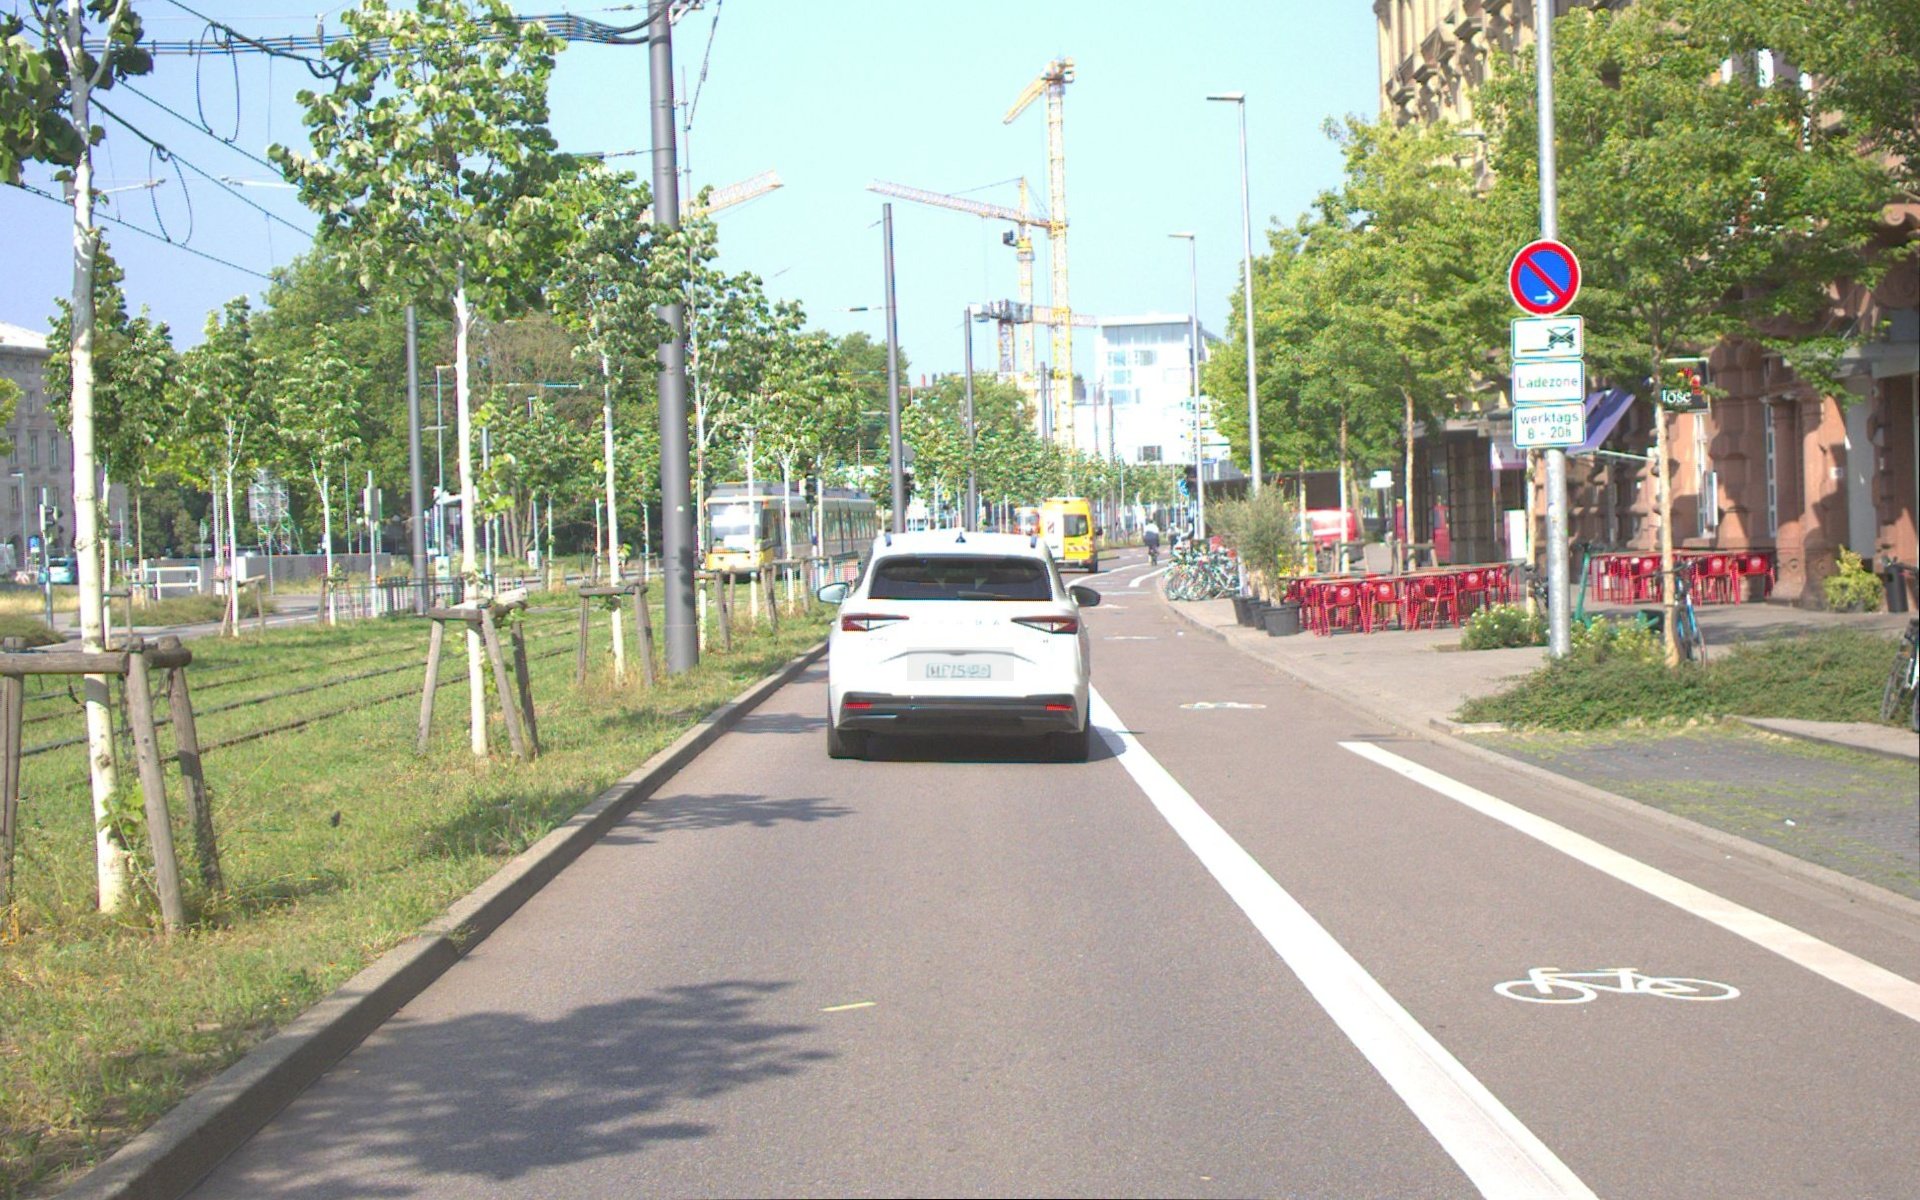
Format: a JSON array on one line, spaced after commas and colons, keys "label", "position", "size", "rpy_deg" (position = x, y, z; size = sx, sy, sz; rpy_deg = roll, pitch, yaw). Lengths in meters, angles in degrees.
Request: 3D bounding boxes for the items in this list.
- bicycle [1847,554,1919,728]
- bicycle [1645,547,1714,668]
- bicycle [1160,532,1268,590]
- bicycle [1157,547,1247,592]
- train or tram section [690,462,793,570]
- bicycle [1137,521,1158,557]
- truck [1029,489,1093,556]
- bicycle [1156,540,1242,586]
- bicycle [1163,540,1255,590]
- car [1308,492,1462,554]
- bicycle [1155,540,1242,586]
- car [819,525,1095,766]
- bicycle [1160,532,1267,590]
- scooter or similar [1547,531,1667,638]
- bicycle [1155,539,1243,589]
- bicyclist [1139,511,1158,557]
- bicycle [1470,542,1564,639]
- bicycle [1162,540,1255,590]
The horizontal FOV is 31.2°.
[{"label": "bicycle", "position": [6.400, 0.251, 22.902], "size": [0.492, 1.090, 1.826], "rpy_deg": [-2, 1, 0]}, {"label": "bicycle", "position": [6.854, 0.059, 32.717], "size": [0.505, 1.056, 1.712], "rpy_deg": [-3, 2, 15]}, {"label": "bicycle", "position": [5.441, -0.841, 73.670], "size": [2.239, 1.100, 0.588], "rpy_deg": [-4, 1, 2]}, {"label": "bicycle", "position": [5.399, -0.678, 76.786], "size": [1.934, 0.871, 0.440], "rpy_deg": [-4, 1, 2]}, {"label": "train or tram section", "position": [-7.734, -2.910, 123.036], "size": [2.898, 3.574, 12.478], "rpy_deg": [-2, 1, -1]}, {"label": "bicycle", "position": [7.767, -2.540, 142.621], "size": [0.781, 1.491, 2.800], "rpy_deg": [-2, 1, 2]}, {"label": "truck", "position": [3.676, -2.803, 124.120], "size": [2.213, 2.310, 5.890], "rpy_deg": [-1, 1, 2]}, {"label": "bicycle", "position": [5.520, -0.861, 79.401], "size": [1.935, 0.942, 0.440], "rpy_deg": [-3, 1, 5]}, {"label": "bicycle", "position": [5.428, -0.769, 75.072], "size": [1.934, 0.983, 0.471], "rpy_deg": [-4, 1, 2]}, {"label": "car", "position": [12.336, -2.246, 99.972], "size": [4.355, 1.678, 2.000], "rpy_deg": [-1, 1, 7]}, {"label": "bicycle", "position": [5.485, -0.856, 78.922], "size": [1.935, 0.942, 0.440], "rpy_deg": [-3, 1, 5]}, {"label": "car", "position": [-0.013, 0.263, 25.139], "size": [1.817, 1.584, 4.407], "rpy_deg": [-1, 1, 0]}, {"label": "bicycle", "position": [5.469, -0.846, 74.225], "size": [2.239, 1.100, 0.519], "rpy_deg": [-4, 1, 2]}, {"label": "scooter or similar", "position": [7.473, -0.179, 39.729], "size": [1.256, 1.153, 0.340], "rpy_deg": [-4, 1, 5]}, {"label": "bicycle", "position": [5.454, -0.830, 78.473], "size": [1.935, 1.009, 0.440], "rpy_deg": [-3, 1, 5]}, {"label": "bicyclist", "position": [7.795, -2.720, 142.456], "size": [0.709, 1.889, 0.843], "rpy_deg": [-2, 1, 2]}, {"label": "bicycle", "position": [6.609, -0.124, 40.867], "size": [0.595, 1.118, 1.927], "rpy_deg": [-2, 1, -6]}, {"label": "bicycle", "position": [5.457, -0.773, 75.552], "size": [1.955, 0.983, 0.471], "rpy_deg": [-4, 1, 2]}]
